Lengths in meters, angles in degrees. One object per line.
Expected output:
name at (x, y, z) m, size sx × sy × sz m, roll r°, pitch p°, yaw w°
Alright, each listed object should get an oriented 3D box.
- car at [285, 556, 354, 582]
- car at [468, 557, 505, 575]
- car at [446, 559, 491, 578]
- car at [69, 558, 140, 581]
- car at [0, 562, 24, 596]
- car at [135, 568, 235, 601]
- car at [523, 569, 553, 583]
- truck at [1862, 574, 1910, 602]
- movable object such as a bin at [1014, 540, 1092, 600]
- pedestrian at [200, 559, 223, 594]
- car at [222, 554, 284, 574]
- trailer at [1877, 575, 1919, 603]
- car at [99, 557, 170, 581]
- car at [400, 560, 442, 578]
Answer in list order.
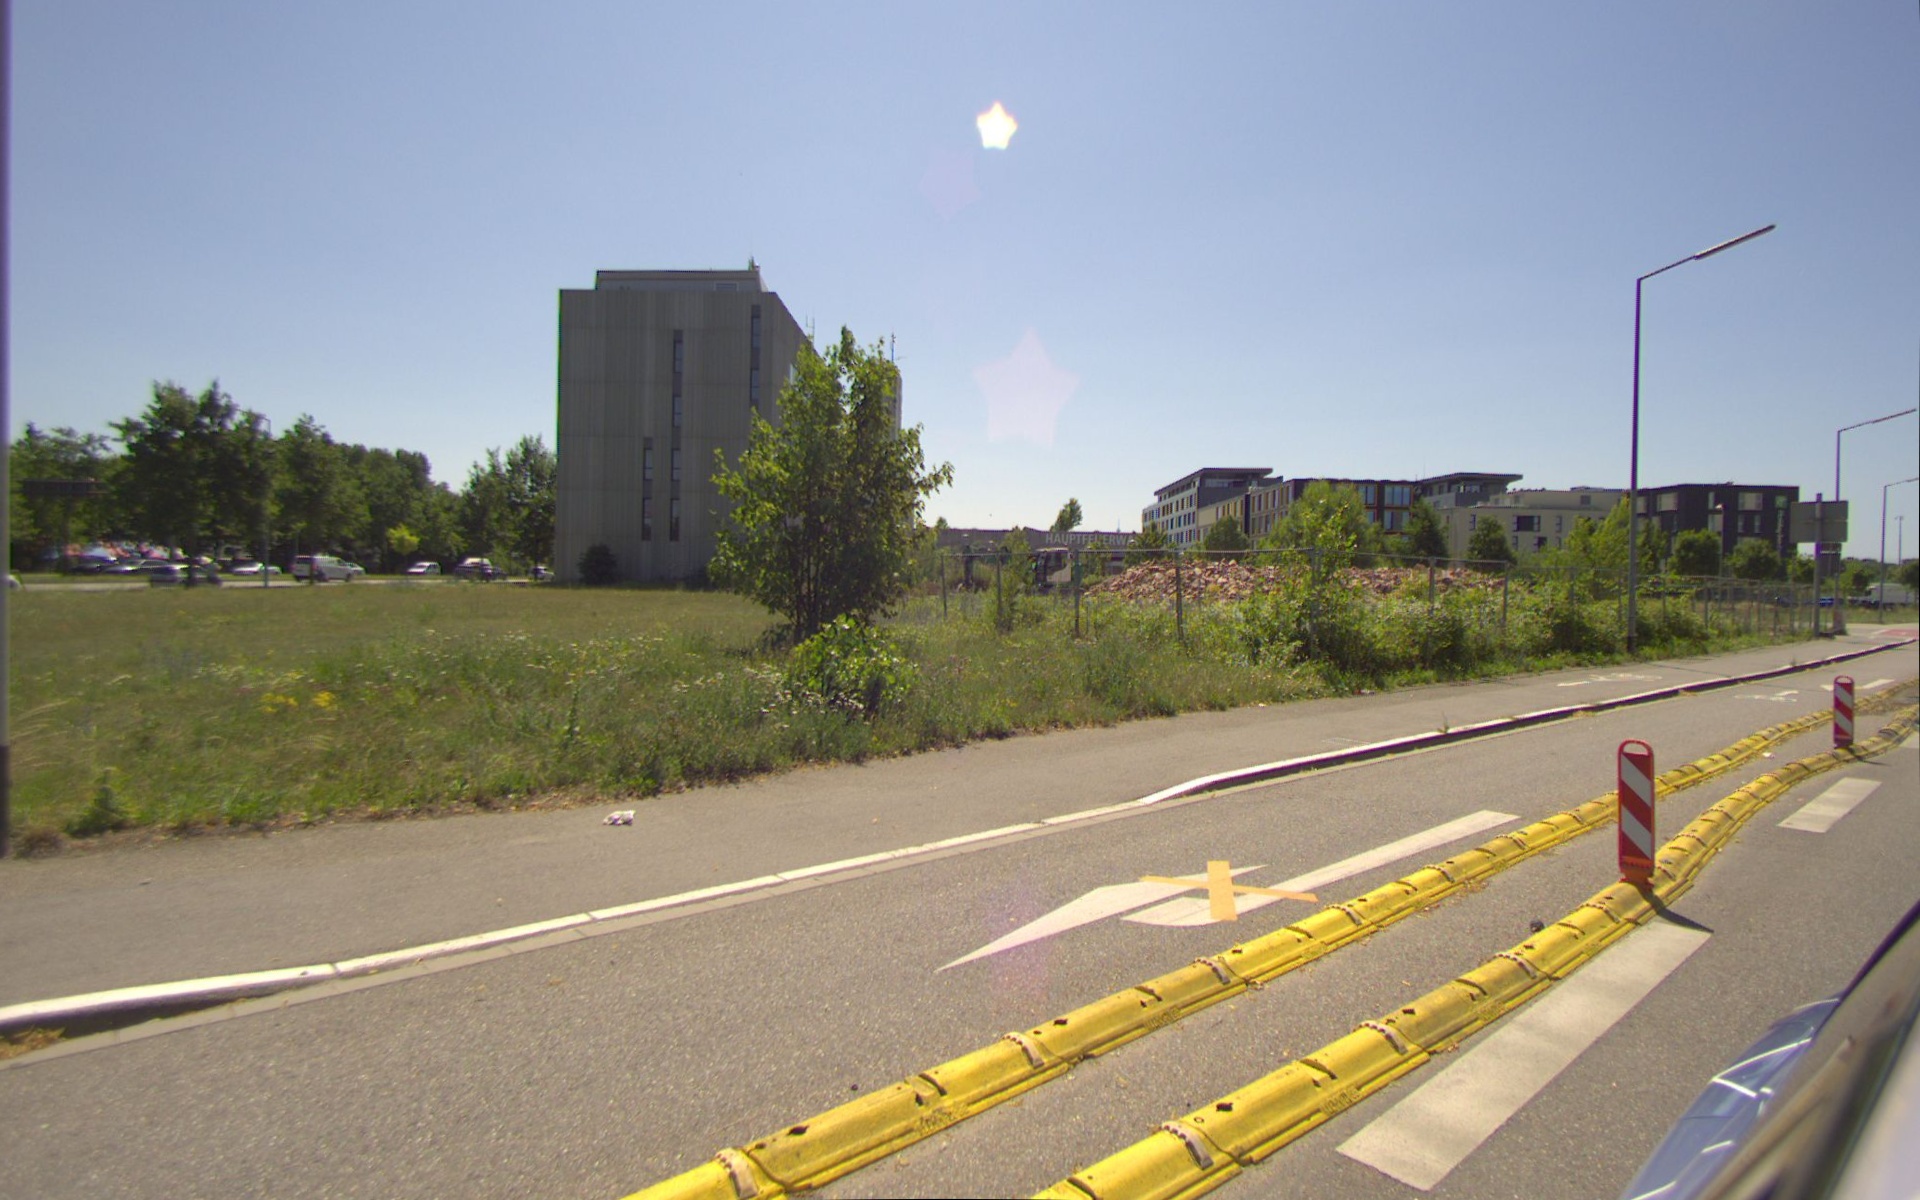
car at (-47.711, -2.290, 75.517) m, size 1.963 × 1.873 × 4.985 m, roll 0°, pitch 1°, yaw 2°
car at (-57.163, -4.048, 122.243) m, size 1.963 × 2.039 × 5.083 m, roll 0°, pitch 1°, yaw 2°
car at (-44.810, -2.866, 92.331) m, size 1.962 × 1.616 × 4.447 m, roll 0°, pitch 1°, yaw 0°
car at (-61.499, -2.196, 72.821) m, size 1.708 × 1.571 × 3.999 m, roll 0°, pitch 1°, yaw 1°
car at (-42.767, -0.916, 43.277) m, size 1.604 × 1.462 × 4.015 m, roll 0°, pitch 1°, yaw 6°
car at (-42.946, -0.856, 56.210) m, size 1.961 × 1.727 × 4.942 m, roll 0°, pitch 1°, yaw -3°
car at (-47.749, -2.697, 114.654) m, size 1.708 × 1.571 × 3.999 m, roll 0°, pitch 1°, yaw 1°
truck at (115.908, -1.463, 126.673) m, size 3.928 × 3.377 × 1.998 m, roll 1°, pitch 1°, yaw 4°
movable object such as a bin at (4.954, -1.578, 53.957) m, size 3.619 × 3.101 × 2.207 m, roll 0°, pitch 1°, yaw -35°
pedestrian at (-33.796, -1.063, 45.708) m, size 0.489 × 1.583 × 0.737 m, roll 0°, pitch 0°, yaw -1°
car at (-61.699, -3.135, 88.429) m, size 1.963 × 1.590 × 4.779 m, roll 0°, pitch 1°, yaw 2°
trailer at (119.704, -1.345, 126.374) m, size 8.030 × 3.390 × 1.998 m, roll 1°, pitch 1°, yaw 4°
car at (-58.250, -2.159, 71.461) m, size 1.708 × 1.571 × 3.999 m, roll 0°, pitch 1°, yaw 1°
car at (-61.191, -3.511, 115.017) m, size 1.963 × 2.039 × 5.083 m, roll 0°, pitch 1°, yaw 2°
